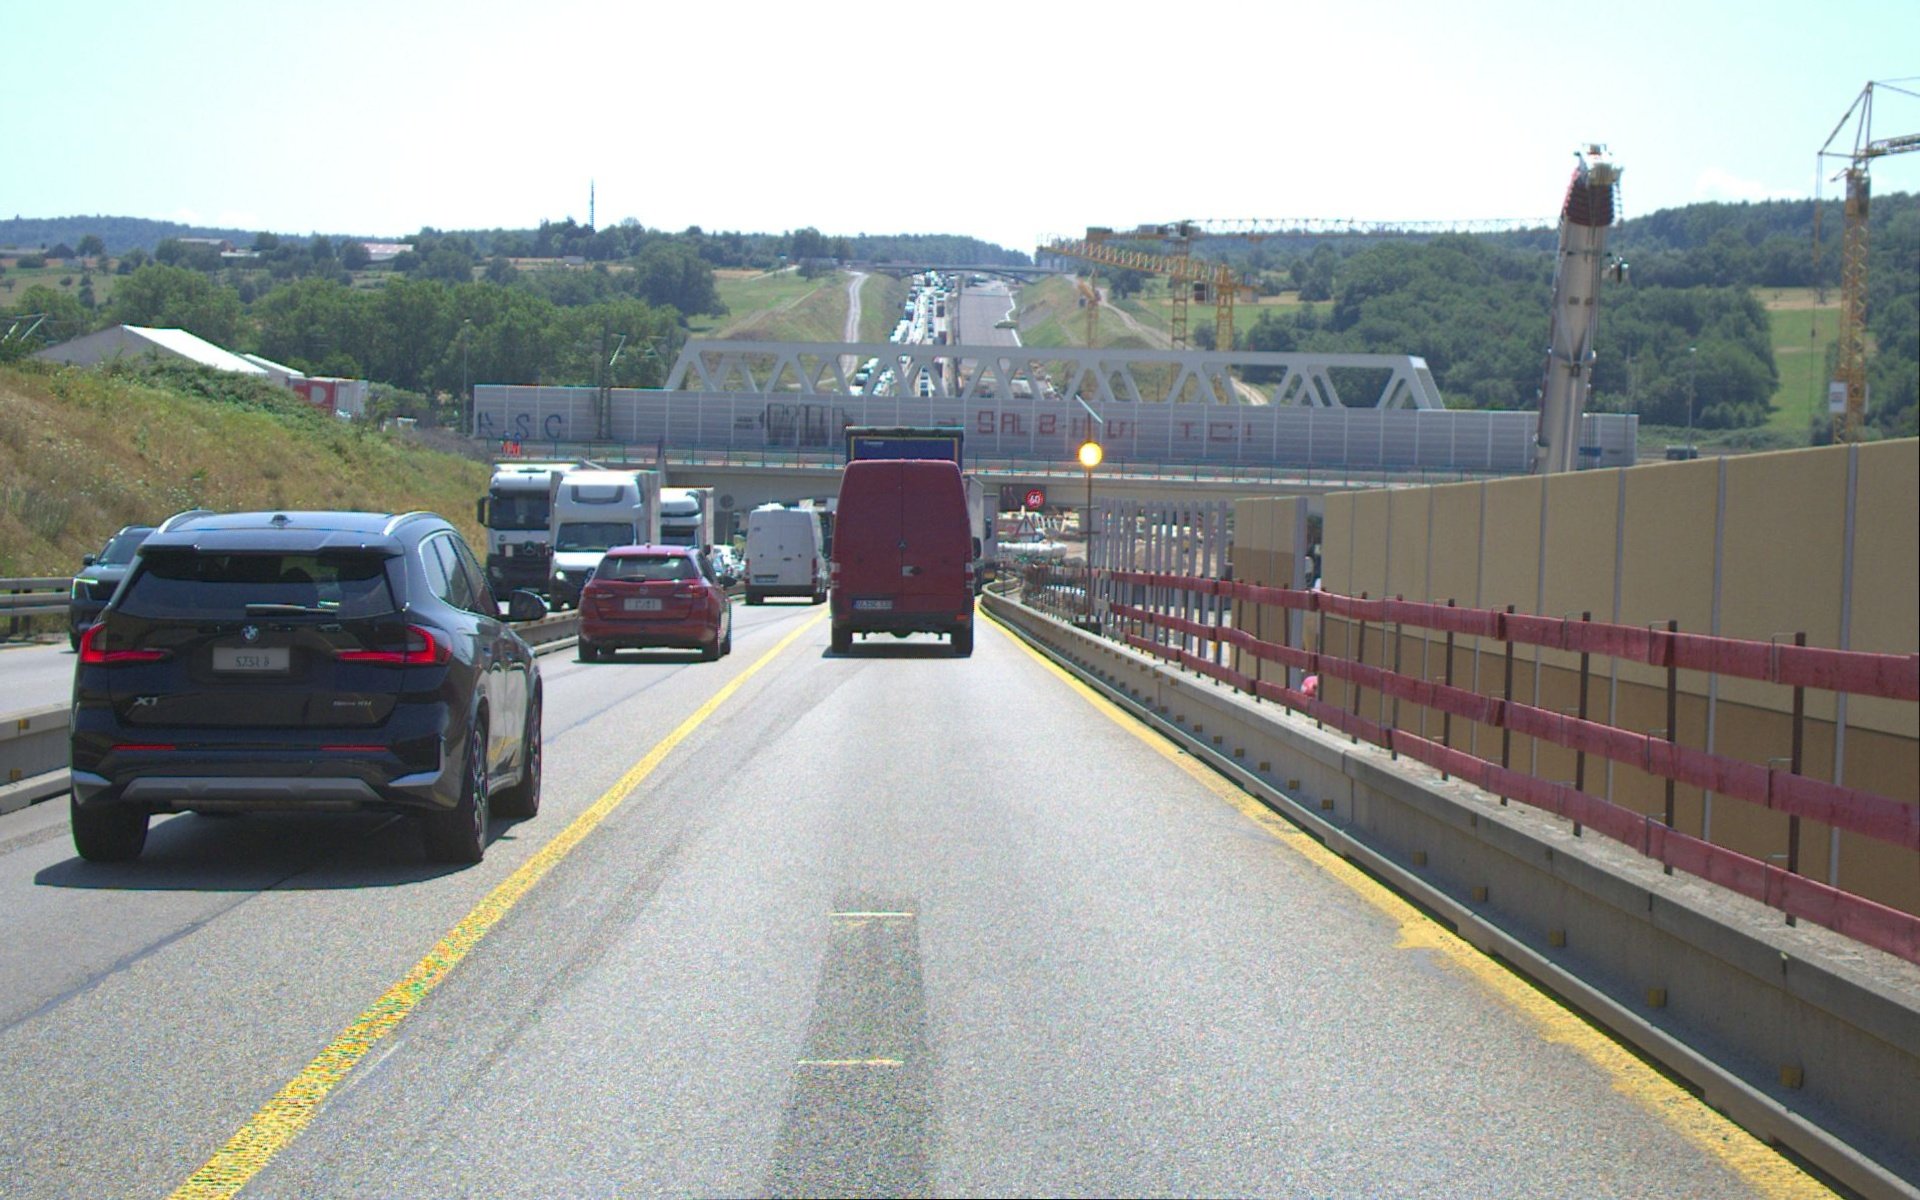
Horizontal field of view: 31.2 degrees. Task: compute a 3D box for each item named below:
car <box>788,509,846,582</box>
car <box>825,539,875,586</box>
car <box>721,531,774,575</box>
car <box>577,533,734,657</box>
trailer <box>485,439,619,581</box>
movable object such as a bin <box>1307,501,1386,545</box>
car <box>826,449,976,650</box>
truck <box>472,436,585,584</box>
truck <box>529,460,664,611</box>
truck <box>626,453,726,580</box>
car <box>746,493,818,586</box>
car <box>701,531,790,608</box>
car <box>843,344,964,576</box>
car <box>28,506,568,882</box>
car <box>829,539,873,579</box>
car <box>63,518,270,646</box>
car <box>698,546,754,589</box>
[{"bbox_3d":[-4.616,-1.772,111.511,1.776,2.322,4.206,0,1,-1],"label":"car"},{"bbox_3d":[-4.032,-1.399,126.482,1.776,1.664,4.029,0,1,-1],"label":"car"},{"bbox_3d":[-8.941,-1.995,145.038,2.035,1.817,4.960,1,1,-1],"label":"car"},{"bbox_3d":[-3.885,-0.103,44.458,1.776,1.512,4.206,0,1,-2],"label":"car"},{"bbox_3d":[-12.339,-2.689,104.969,2.698,4.011,13.704,1,1,-1],"label":"trailer"},{"bbox_3d":[25.699,-5.108,228.698,5.147,2.798,2.142,1,1,5],"label":"movable object such as a bin"},{"bbox_3d":[-0.826,-0.722,48.159,1.988,2.681,4.624,0,1,-1],"label":"car"},{"bbox_3d":[-12.140,-2.529,96.923,2.698,4.036,3.955,1,1,-1],"label":"truck"},{"bbox_3d":[-8.495,-1.529,81.063,2.538,3.362,7.038,1,1,-1],"label":"truck"},{"bbox_3d":[-8.739,-2.567,106.454,2.589,3.745,7.359,1,1,-1],"label":"truck"},{"bbox_3d":[-4.746,-1.616,92.149,1.776,2.433,4.206,0,1,-1],"label":"car"},{"bbox_3d":[-4.761,-0.705,76.835,1.839,1.648,4.165,0,1,-1],"label":"car"},{"bbox_3d":[-1.307,-3.140,79.790,2.621,5.015,10.397,0,1,-1],"label":"car"},{"bbox_3d":[-3.098,0.361,17.017,1.879,1.612,4.499,0,1,-1],"label":"car"},{"bbox_3d":[-4.580,-1.742,144.391,1.776,1.664,4.029,0,1,-1],"label":"car"},{"bbox_3d":[-10.848,-0.283,47.296,1.854,1.666,4.669,0,1,-1],"label":"car"},{"bbox_3d":[-8.291,-1.169,122.187,1.779,1.453,4.721,1,1,-2],"label":"car"}]
